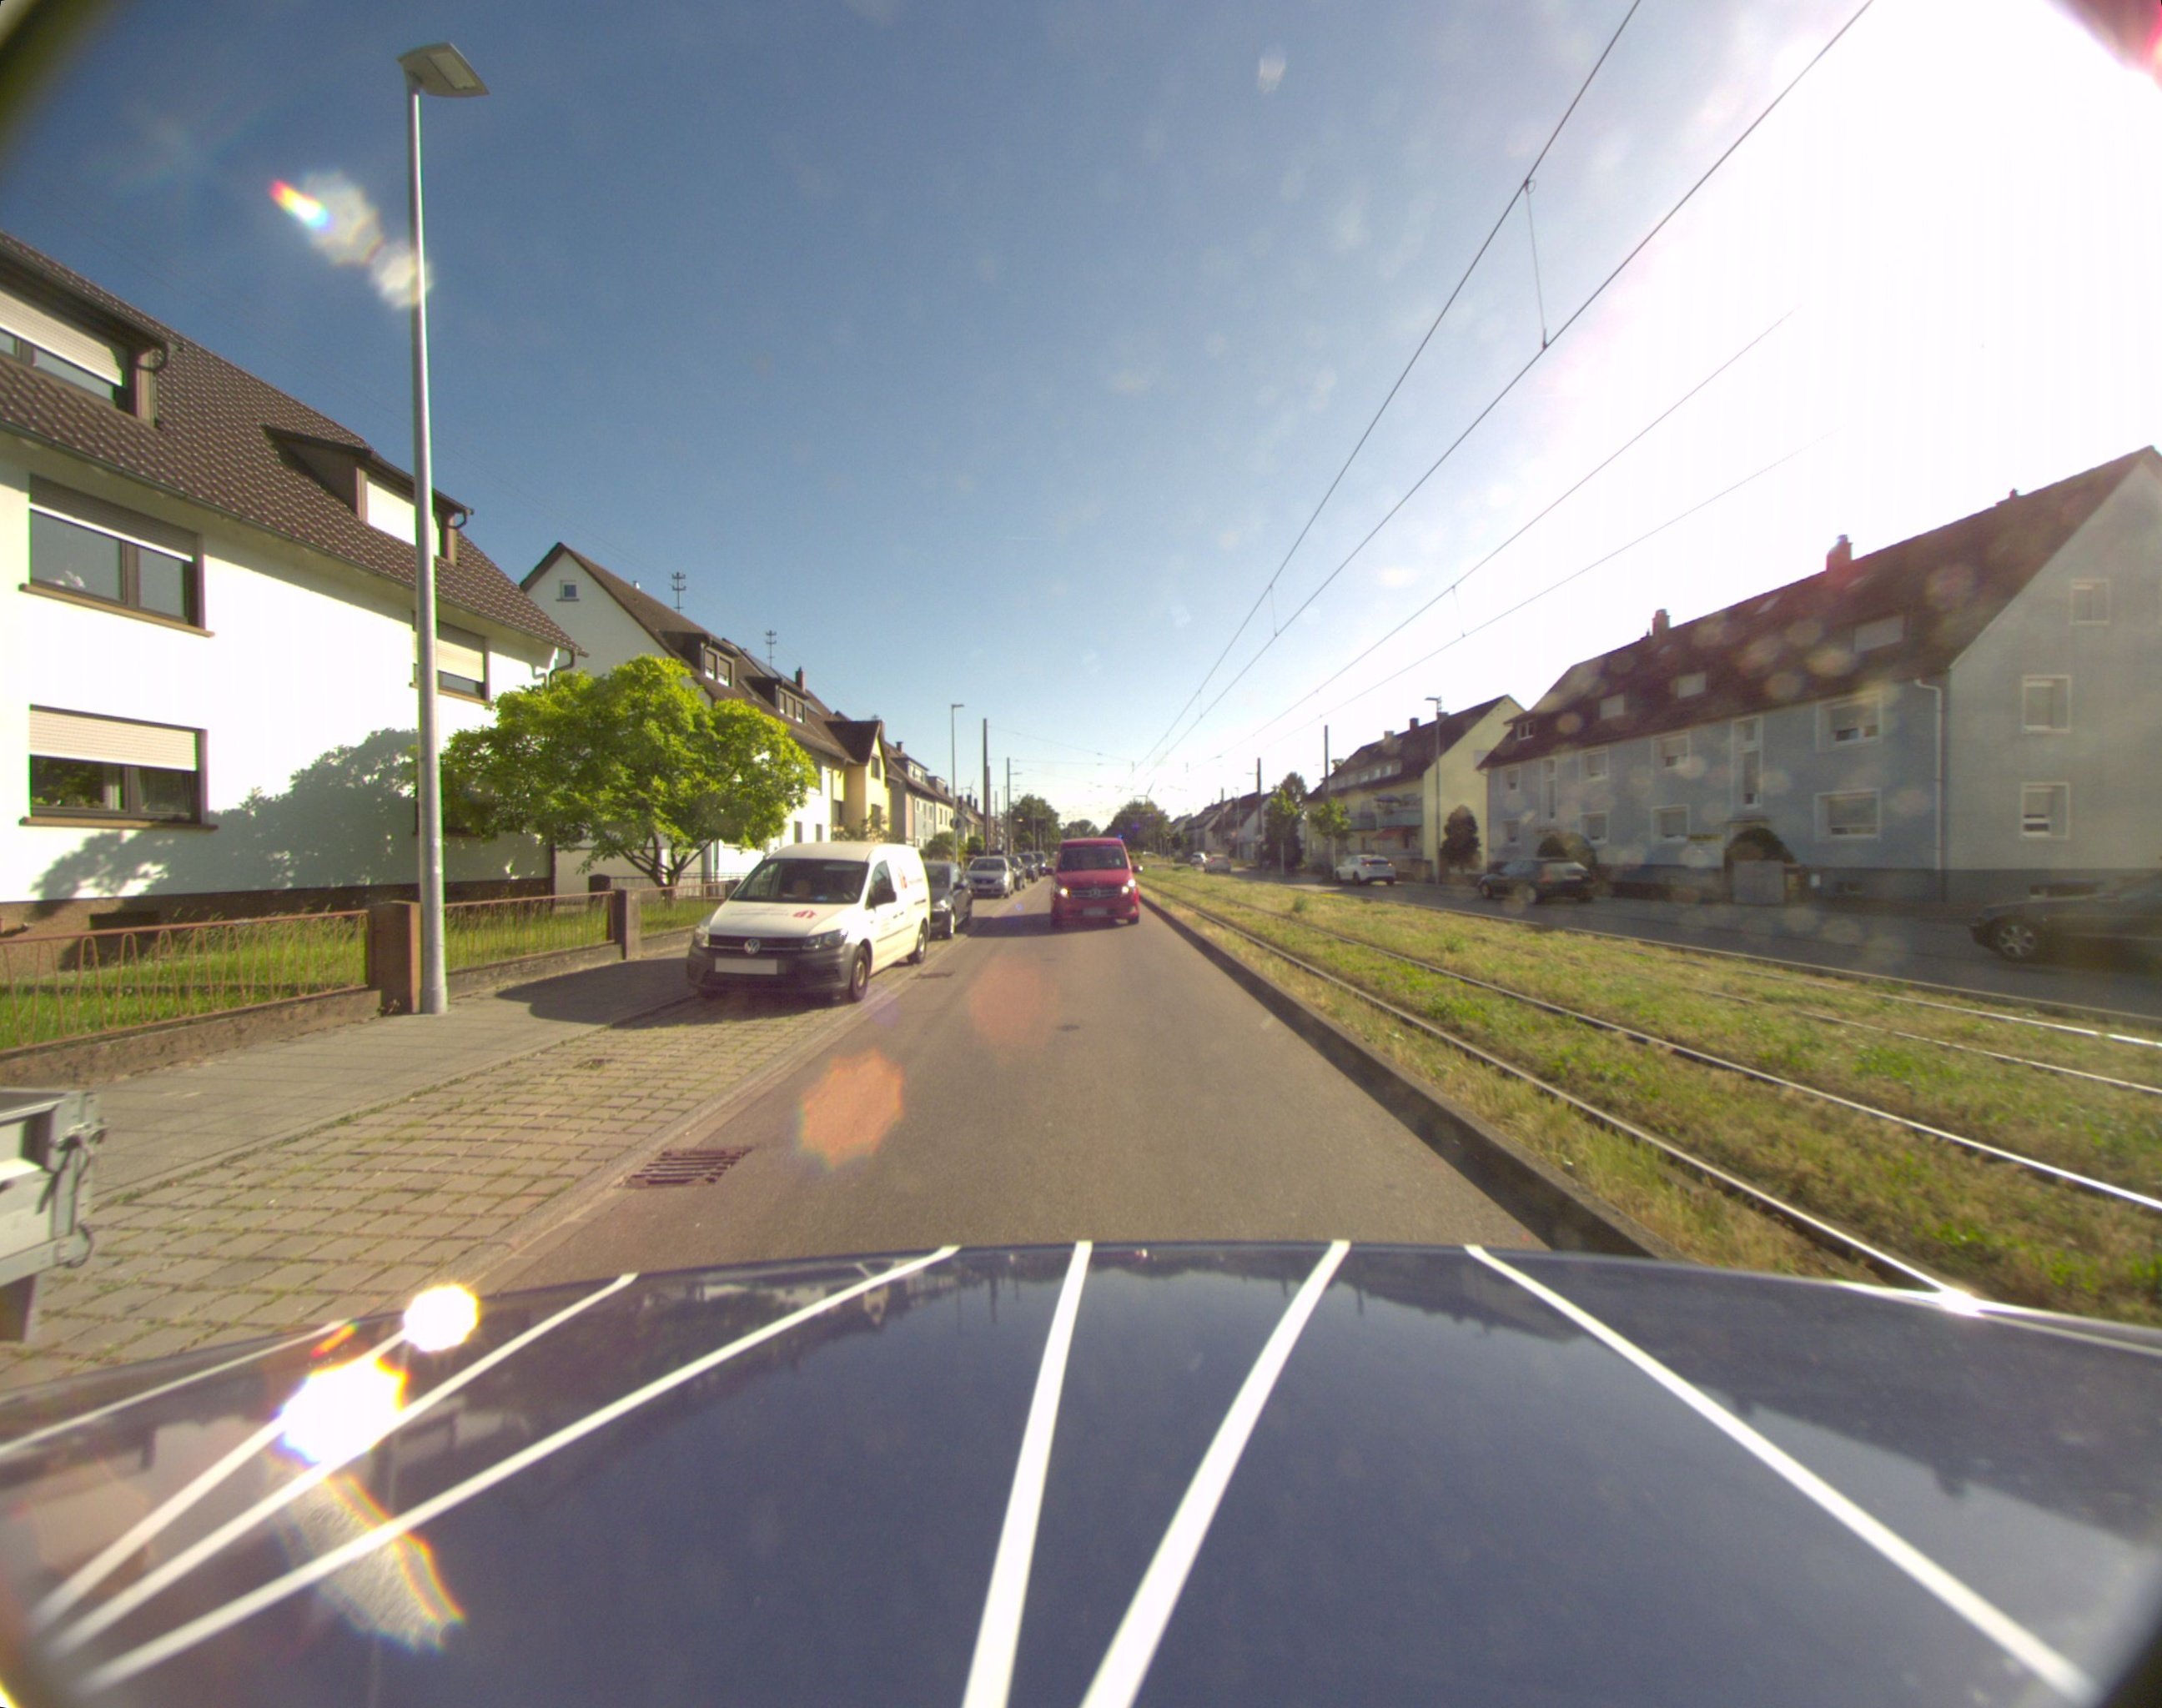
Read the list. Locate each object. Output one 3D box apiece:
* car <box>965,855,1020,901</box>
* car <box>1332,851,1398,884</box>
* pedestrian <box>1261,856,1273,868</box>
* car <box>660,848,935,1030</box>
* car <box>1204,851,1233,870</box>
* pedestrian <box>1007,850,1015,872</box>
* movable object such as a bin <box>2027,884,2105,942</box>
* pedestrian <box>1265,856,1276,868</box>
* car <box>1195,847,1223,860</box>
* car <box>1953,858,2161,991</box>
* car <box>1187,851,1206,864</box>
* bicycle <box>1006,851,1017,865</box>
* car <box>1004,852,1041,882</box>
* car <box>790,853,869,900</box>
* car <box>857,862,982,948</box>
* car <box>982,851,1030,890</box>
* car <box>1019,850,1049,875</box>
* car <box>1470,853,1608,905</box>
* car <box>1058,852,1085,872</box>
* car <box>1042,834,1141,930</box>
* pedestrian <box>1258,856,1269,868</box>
[{"bbox_3d":[-3.209,0.821,28.146,1.620,1.467,4.448,0,1,-2],"label":"car"},{"bbox_3d":[13.828,0.606,37.255,1.697,1.509,4.214,0,0,1],"label":"car"},{"bbox_3d":[16.286,0.690,66.554,0.821,1.059,0.625,-2,3,-33],"label":"pedestrian"},{"bbox_3d":[-3.198,0.820,9.703,1.694,1.766,4.655,0,0,1],"label":"car"},{"bbox_3d":[11.301,0.508,62.550,1.712,1.482,4.023,0,2,1],"label":"car"},{"bbox_3d":[-5.418,0.525,58.788,0.584,1.713,0.714,0,1,1],"label":"pedestrian"},{"bbox_3d":[16.947,1.001,13.086,0.389,0.921,0.704,0,1,-1],"label":"movable object such as a bin"},{"bbox_3d":[16.443,0.691,65.860,0.725,1.000,0.594,-1,3,-24],"label":"pedestrian"},{"bbox_3d":[16.388,-0.085,97.106,1.826,1.570,4.008,0,1,37],"label":"car"},{"bbox_3d":[13.834,0.867,8.854,1.881,1.514,4.881,-1,1,3],"label":"car"},{"bbox_3d":[12.878,0.414,84.768,1.553,1.403,3.659,0,0,1],"label":"car"},{"bbox_3d":[-5.405,0.306,59.196,0.602,0.974,1.562,1,1,2],"label":"bicycle"},{"bbox_3d":[-3.378,0.721,44.420,1.859,1.649,4.472,0,0,-1],"label":"car"},{"bbox_3d":[-8.691,0.691,25.975,2.003,1.437,4.871,0,0,-25],"label":"car"},{"bbox_3d":[-3.190,0.948,15.771,1.675,1.445,4.125,0,1,0],"label":"car"},{"bbox_3d":[-3.270,0.684,33.707,1.670,1.538,3.835,2,1,1],"label":"car"},{"bbox_3d":[-3.541,0.610,58.182,1.967,1.826,4.926,0,1,-1],"label":"car"},{"bbox_3d":[13.972,0.707,23.482,1.795,1.454,4.166,0,0,1],"label":"car"},{"bbox_3d":[-0.962,0.779,75.837,2.000,1.762,3.995,-1,2,-10],"label":"car"},{"bbox_3d":[0.101,0.588,19.007,1.999,1.970,5.235,-3,1,-3],"label":"car"},{"bbox_3d":[16.169,0.678,67.411,0.819,1.040,0.687,0,2,-3],"label":"pedestrian"}]
